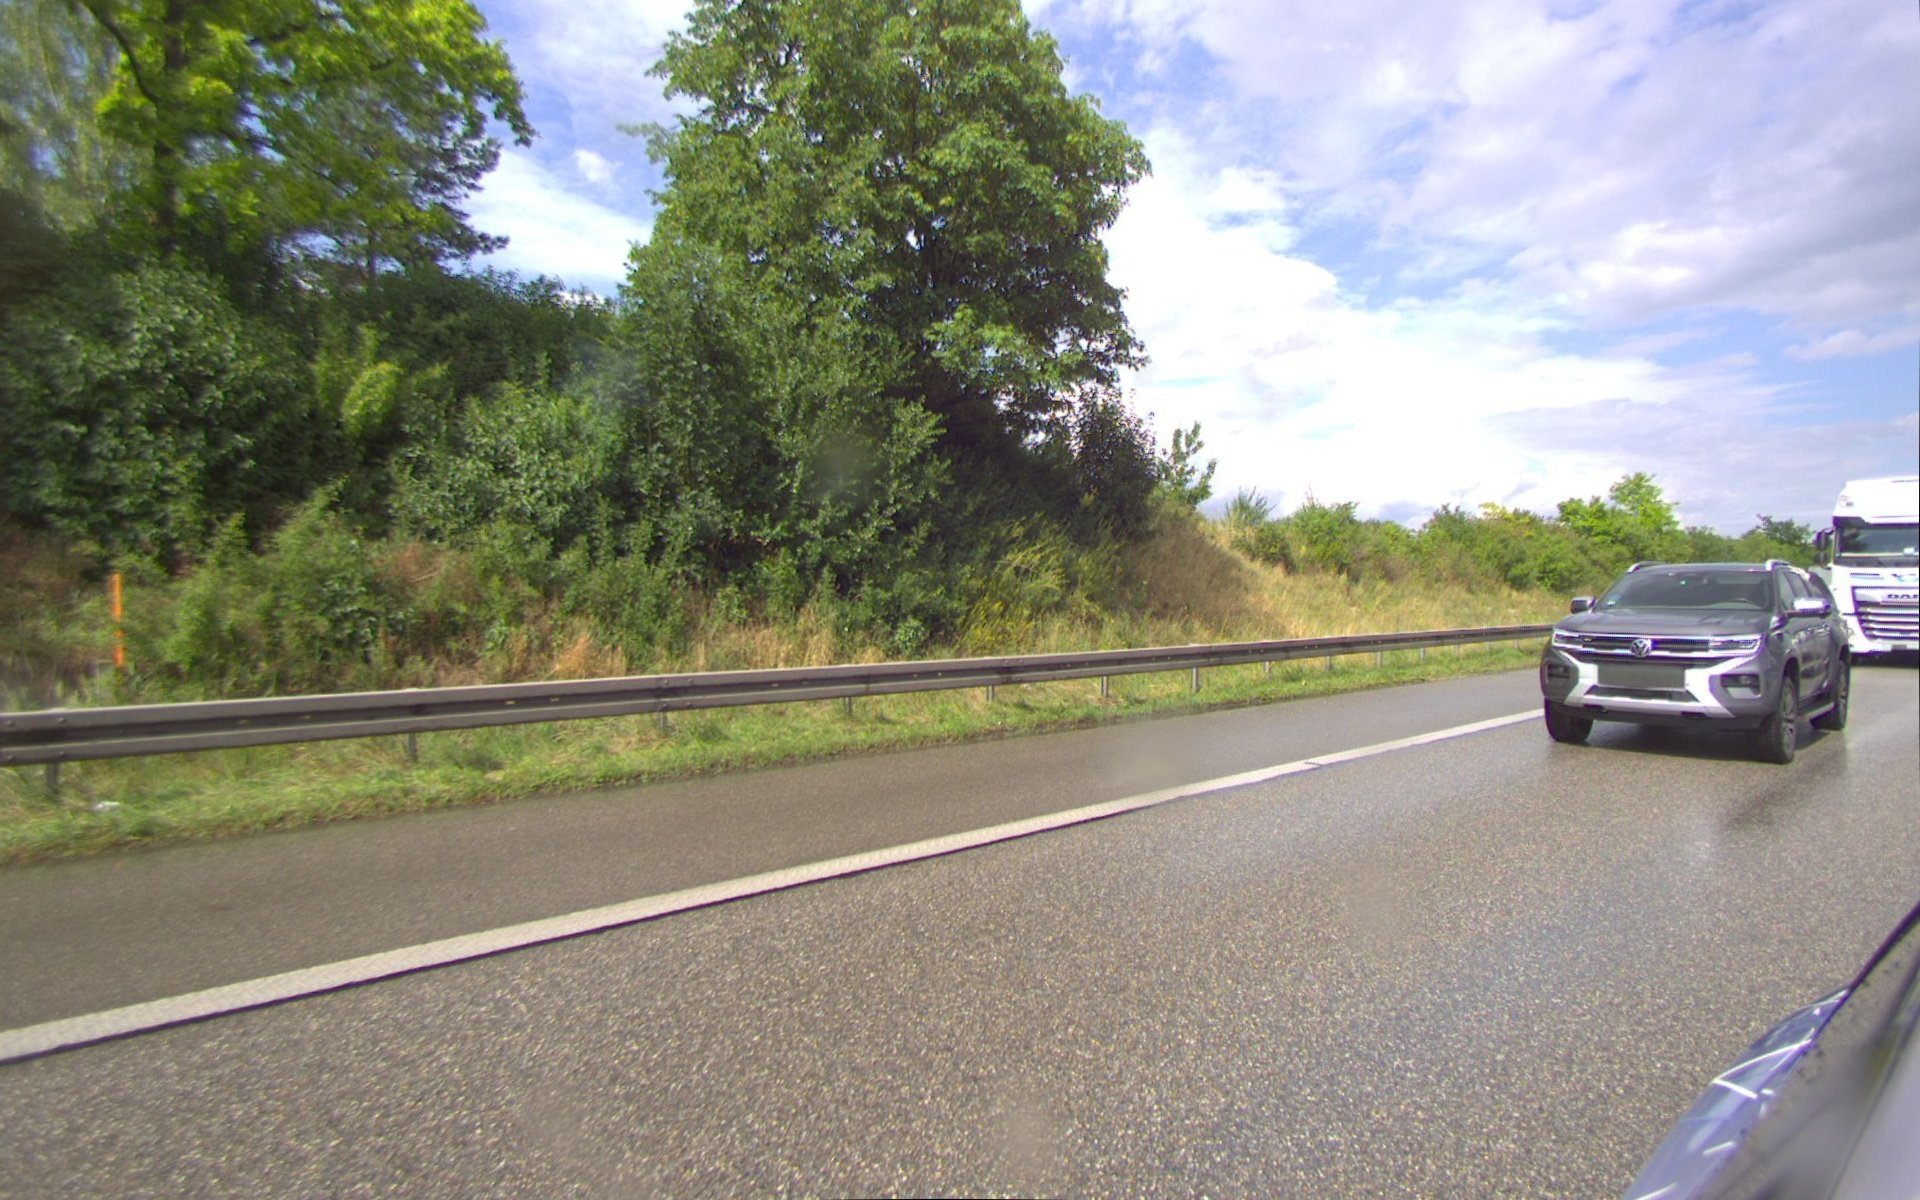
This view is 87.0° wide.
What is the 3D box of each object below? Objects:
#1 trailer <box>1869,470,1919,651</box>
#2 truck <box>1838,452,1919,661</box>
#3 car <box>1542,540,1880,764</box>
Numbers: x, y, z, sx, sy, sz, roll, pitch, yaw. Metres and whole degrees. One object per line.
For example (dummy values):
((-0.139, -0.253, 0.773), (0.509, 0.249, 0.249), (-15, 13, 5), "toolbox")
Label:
((26.818, -0.975, 27.004), (12.005, 4.171, 2.448), (-1, 1, -42), "trailer")
((21.041, -0.875, 21.862), (5.240, 4.155, 2.458), (0, 0, -41), "truck")
((8.094, 0.387, 10.674), (5.213, 1.826, 1.830), (-1, 1, -41), "car")
